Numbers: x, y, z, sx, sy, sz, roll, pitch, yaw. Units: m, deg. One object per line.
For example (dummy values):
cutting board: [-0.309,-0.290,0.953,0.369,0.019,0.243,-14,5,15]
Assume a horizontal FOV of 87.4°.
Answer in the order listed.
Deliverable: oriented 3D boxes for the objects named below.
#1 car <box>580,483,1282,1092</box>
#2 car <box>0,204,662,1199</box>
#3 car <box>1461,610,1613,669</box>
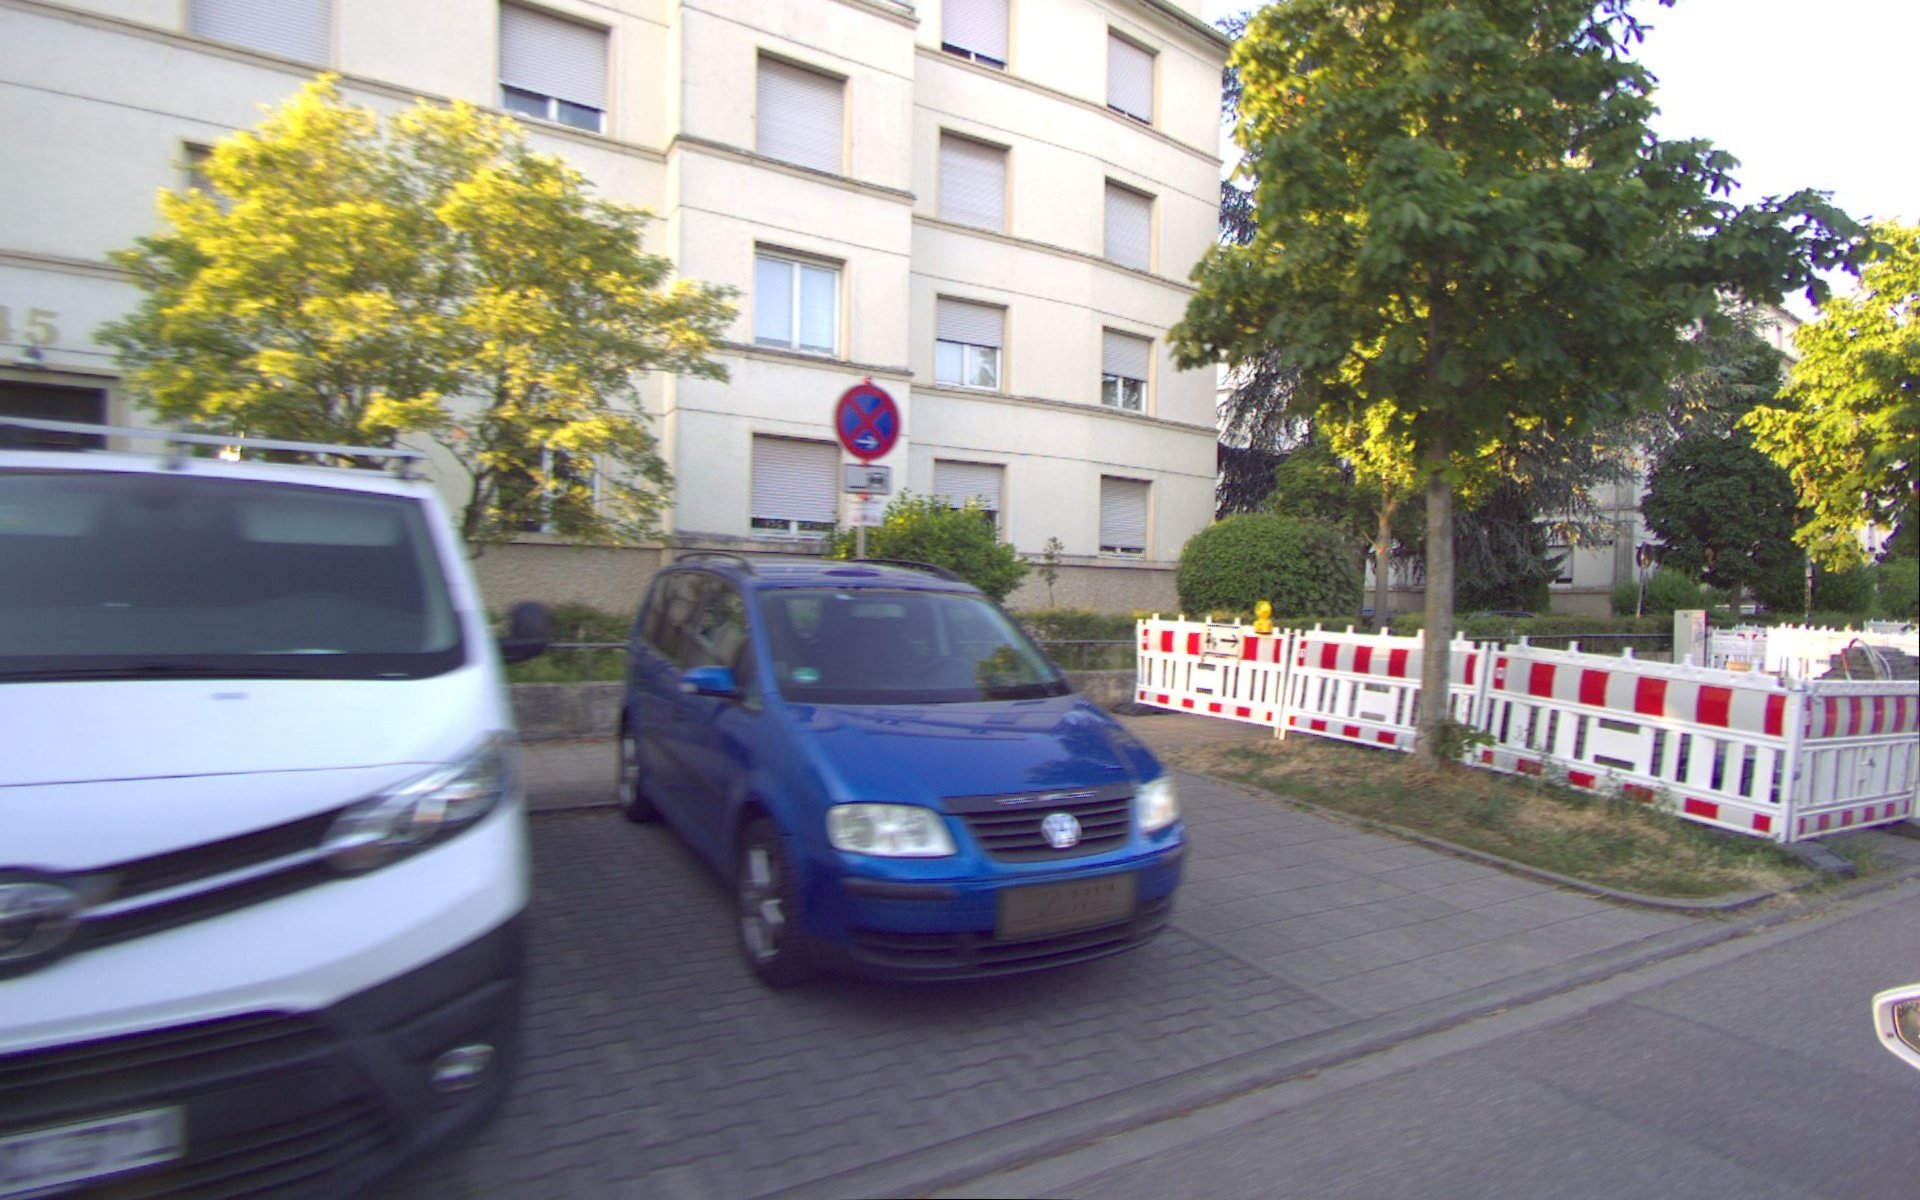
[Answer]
car: [-0.565,0.528,5.088,1.780,1.776,3.964,0,1,-32]
car: [-2.718,0.339,3.744,1.977,2.041,4.747,0,1,-31]
car: [17.755,1.174,31.016,1.747,1.611,3.675,0,1,-40]
